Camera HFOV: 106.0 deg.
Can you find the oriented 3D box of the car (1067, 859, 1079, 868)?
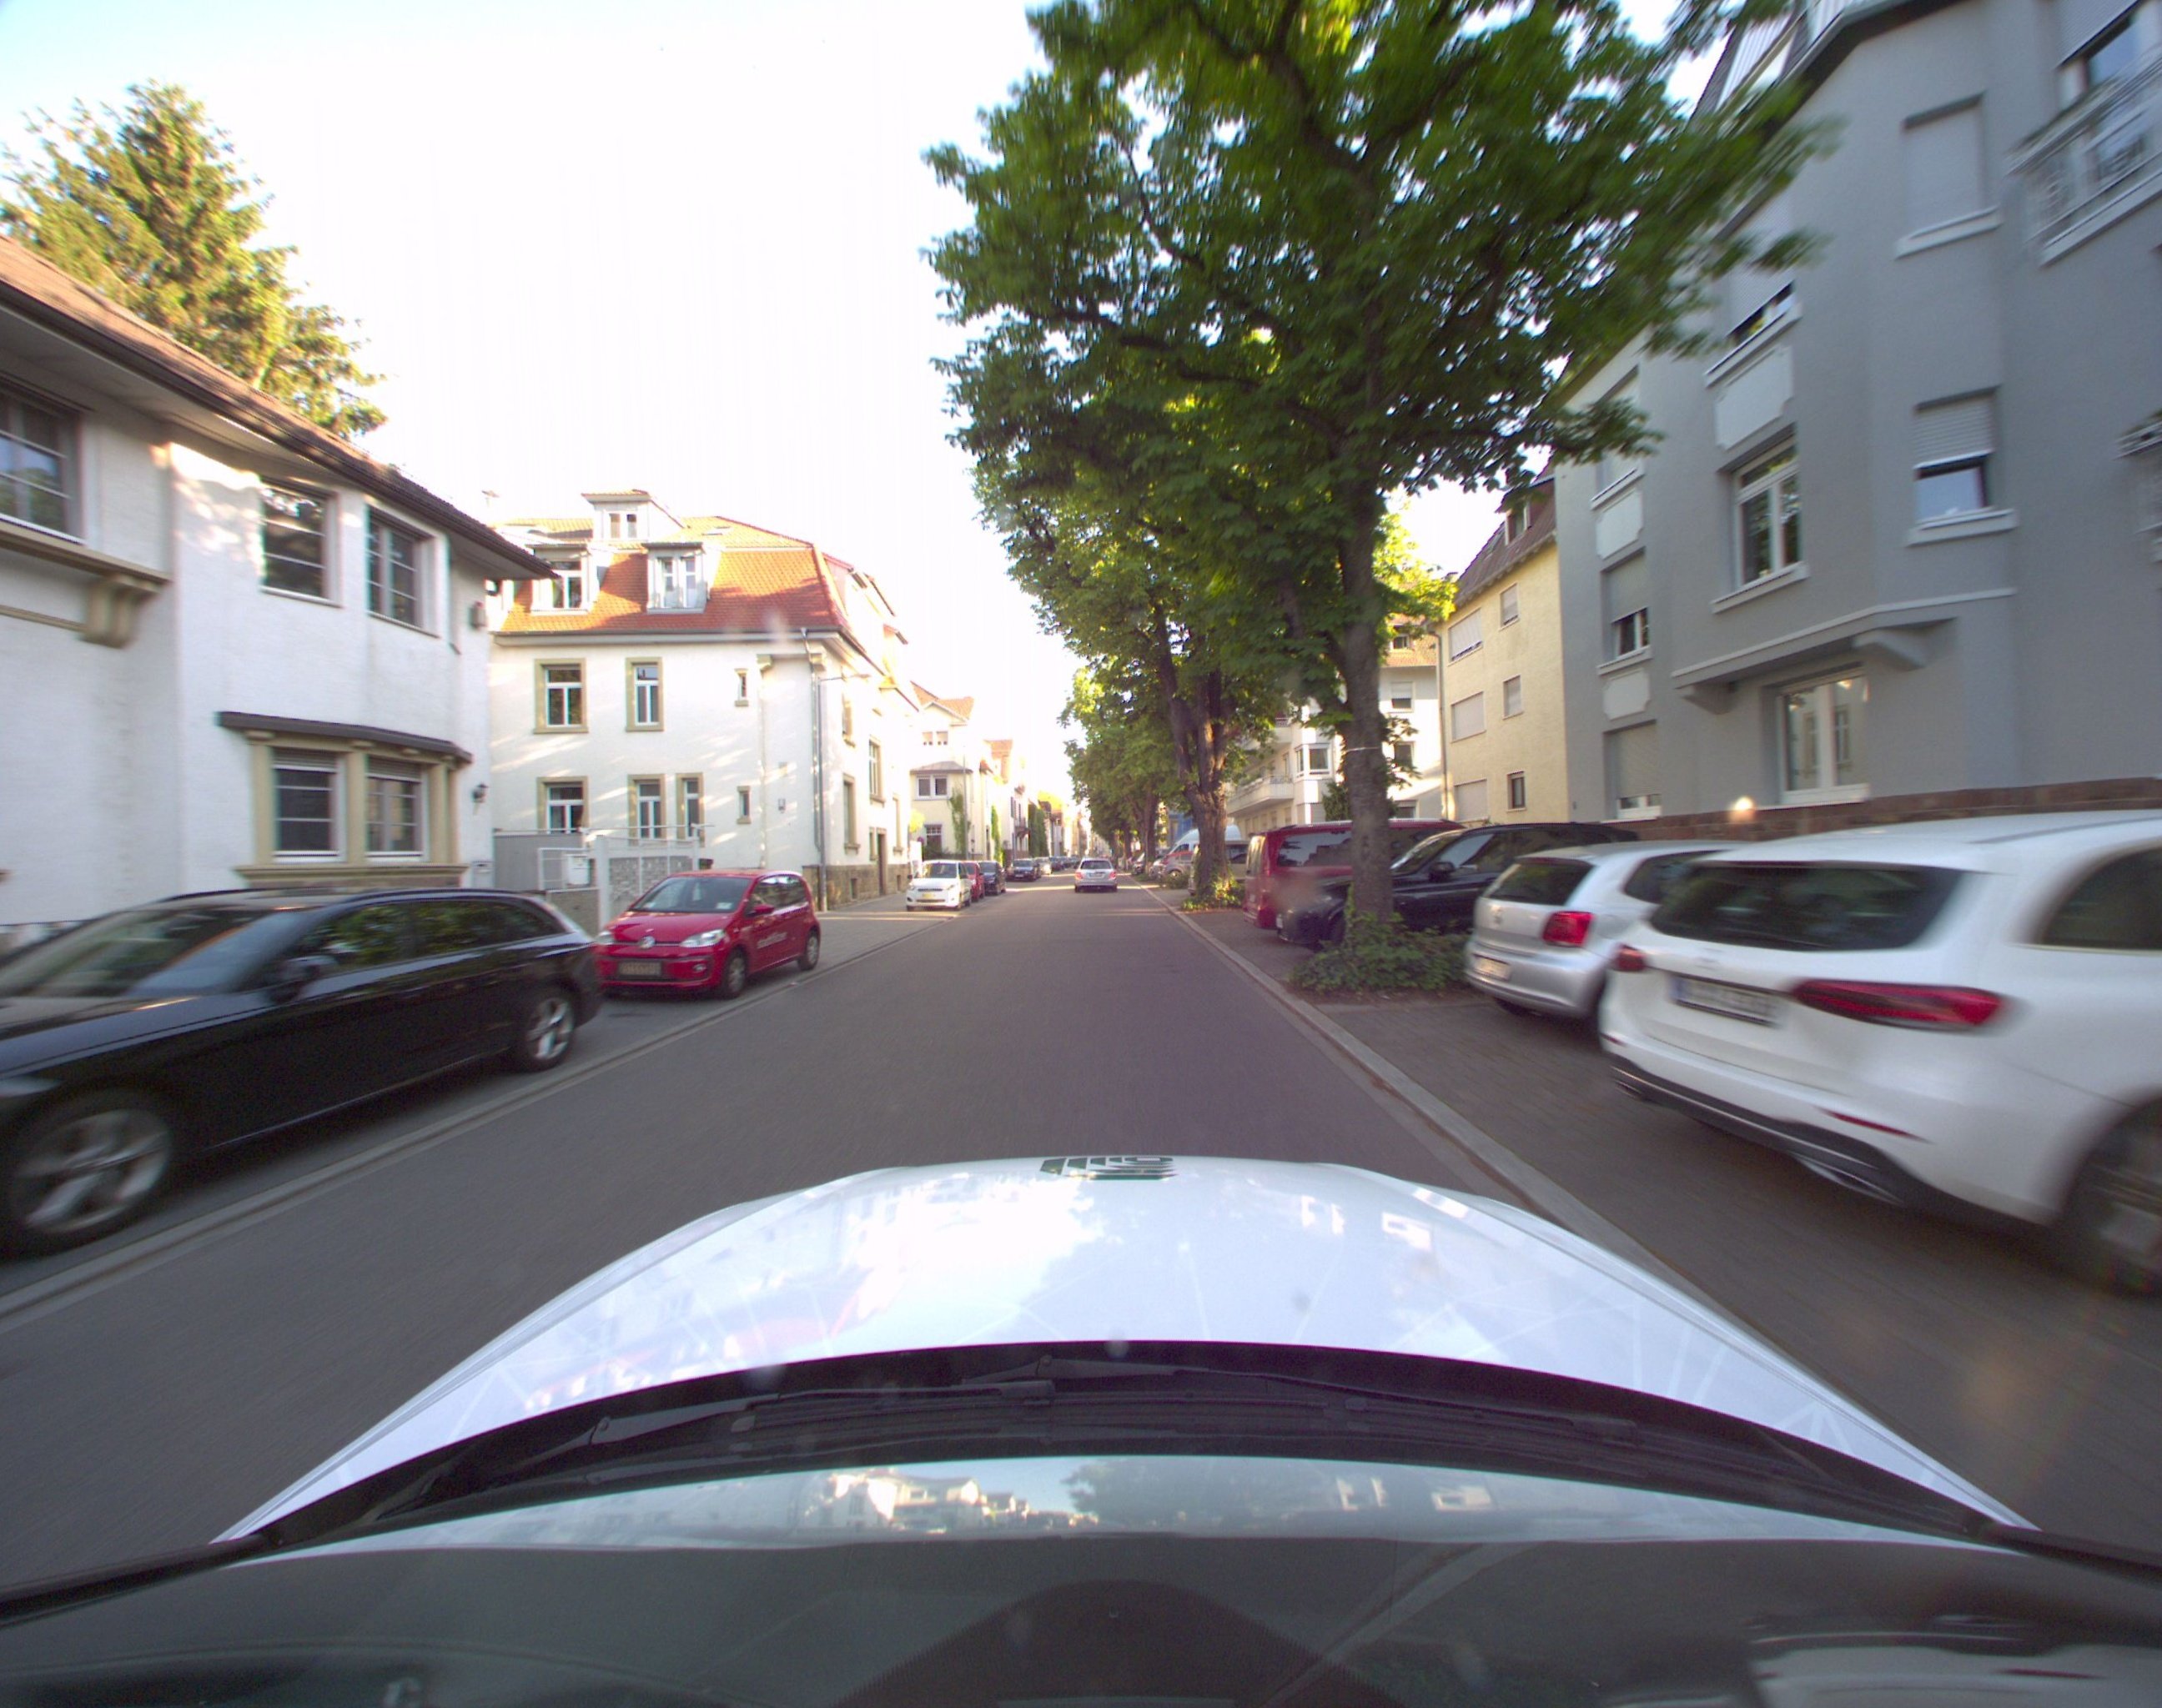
[{"bbox_3d":[-1.332,1.598,133.968,1.792,1.387,3.607,-1,0,1],"label":"car"}]

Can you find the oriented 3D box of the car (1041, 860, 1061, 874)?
[{"bbox_3d":[-3.039,1.310,82.971,1.792,1.387,3.607,-1,0,1],"label":"car"}]

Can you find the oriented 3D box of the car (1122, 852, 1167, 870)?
[{"bbox_3d":[5.595,0.582,72.025,3.829,1.482,1.806,-2,0,2],"label":"car"}]

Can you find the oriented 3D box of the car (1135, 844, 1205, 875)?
[{"bbox_3d":[6.075,0.368,56.055,4.505,2.013,2.250,-2,0,-1],"label":"car"}]

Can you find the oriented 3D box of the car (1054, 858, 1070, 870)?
[{"bbox_3d":[-2.421,1.260,104.546,1.792,1.387,3.607,-1,0,1],"label":"car"}]

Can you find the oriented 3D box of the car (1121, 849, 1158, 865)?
[{"bbox_3d":[6.260,0.321,87.129,3.829,1.482,1.806,-2,0,2],"label":"car"}]

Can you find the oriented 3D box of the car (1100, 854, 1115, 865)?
[{"bbox_3d":[3.692,0.773,113.091,1.809,1.473,4.221,-2,-1,4],"label":"car"}]

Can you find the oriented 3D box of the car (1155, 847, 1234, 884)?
[{"bbox_3d":[5.519,0.552,39.968,3.584,1.659,1.649,-2,0,-1],"label":"car"}]

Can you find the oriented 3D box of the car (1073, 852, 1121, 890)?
[{"bbox_3d":[0.756,0.729,34.872,1.809,1.473,4.221,-2,-1,4],"label":"car"}]

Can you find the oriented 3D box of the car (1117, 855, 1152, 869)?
[{"bbox_3d":[6.015,0.892,91.377,3.829,1.482,1.806,-2,0,2],"label":"car"}]

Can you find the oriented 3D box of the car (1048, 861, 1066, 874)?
[{"bbox_3d":[-2.754,1.523,93.006,1.792,1.387,3.607,-1,0,1],"label":"car"}]

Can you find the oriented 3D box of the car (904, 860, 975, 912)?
[{"bbox_3d":[-4.388,0.956,25.731,1.655,1.499,3.751,-1,-1,-1],"label":"car"}]

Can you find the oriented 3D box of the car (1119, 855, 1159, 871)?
[{"bbox_3d":[5.697,0.861,80.139,3.829,1.482,1.806,-2,0,2],"label":"car"}]

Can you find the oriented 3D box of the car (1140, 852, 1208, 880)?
[{"bbox_3d":[5.429,0.701,47.880,3.829,1.482,1.806,-2,0,2],"label":"car"}]

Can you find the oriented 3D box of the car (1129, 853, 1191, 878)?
[{"bbox_3d":[5.076,0.731,52.530,3.829,1.482,1.806,-2,0,2],"label":"car"}]

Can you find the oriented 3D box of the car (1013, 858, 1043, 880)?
[{"bbox_3d":[-3.756,1.026,58.595,1.792,1.482,3.858,-1,0,1],"label":"car"}]

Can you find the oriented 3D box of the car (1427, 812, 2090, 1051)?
[{"bbox_3d":[5.005,0.534,6.446,3.800,1.568,1.743,-1,0,0],"label":"car"}]

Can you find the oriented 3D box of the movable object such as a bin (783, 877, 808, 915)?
[{"bbox_3d":[-8.666,1.267,24.729,0.525,1.107,0.590,-1,-2,1],"label":"movable object such as a bin"}]

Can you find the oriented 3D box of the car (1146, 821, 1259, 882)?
[{"bbox_3d":[6.315,-0.115,42.969,5.526,2.968,2.471,-2,0,-1],"label":"car"}]

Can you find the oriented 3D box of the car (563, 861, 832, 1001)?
[{"bbox_3d":[-4.754,0.861,10.744,1.653,1.488,3.755,-1,-1,2],"label":"car"}]

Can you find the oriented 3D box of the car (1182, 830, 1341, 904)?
[{"bbox_3d":[5.133,0.361,23.568,4.117,1.921,1.890,-2,0,-1],"label":"car"}]

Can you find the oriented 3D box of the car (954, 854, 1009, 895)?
[{"bbox_3d":[-4.202,0.826,34.917,1.792,1.644,3.858,-1,0,1],"label":"car"}]

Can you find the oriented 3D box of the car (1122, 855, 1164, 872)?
[{"bbox_3d":[5.891,0.878,77.672,3.829,1.482,1.806,-2,0,2],"label":"car"}]

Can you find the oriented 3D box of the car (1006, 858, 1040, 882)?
[{"bbox_3d":[-3.757,1.018,53.208,1.792,1.482,3.858,-1,0,1],"label":"car"}]

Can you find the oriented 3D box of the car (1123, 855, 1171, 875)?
[{"bbox_3d":[5.370,0.870,66.985,3.829,1.482,1.806,-2,0,2],"label":"car"}]

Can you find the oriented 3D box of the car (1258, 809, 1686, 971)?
[{"bbox_3d":[4.818,0.427,10.580,4.609,1.836,1.954,-1,0,1],"label":"car"}]

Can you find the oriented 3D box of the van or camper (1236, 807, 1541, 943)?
[{"bbox_3d":[4.841,0.332,13.381,4.293,2.013,2.002,-1,0,4],"label":"van or camper"}]

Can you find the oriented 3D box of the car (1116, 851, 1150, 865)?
[{"bbox_3d":[6.004,0.445,94.851,3.829,1.482,1.806,-2,0,2],"label":"car"}]

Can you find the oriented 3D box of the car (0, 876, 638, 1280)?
[{"bbox_3d":[-5.018,0.938,5.087,1.776,1.498,4.701,-1,-1,2],"label":"car"}]

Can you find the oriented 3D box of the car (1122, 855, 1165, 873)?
[{"bbox_3d":[5.701,0.890,74.269,3.829,1.482,1.806,-2,0,2],"label":"car"}]

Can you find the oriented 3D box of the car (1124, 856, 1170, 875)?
[{"bbox_3d":[5.628,1.019,69.904,3.829,1.482,1.806,-2,0,2],"label":"car"}]

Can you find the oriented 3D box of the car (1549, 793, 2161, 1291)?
[{"bbox_3d":[4.376,0.557,3.492,3.718,1.558,1.725,-2,-1,0],"label":"car"}]

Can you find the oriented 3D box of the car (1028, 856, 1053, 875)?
[{"bbox_3d":[-3.439,0.954,69.007,1.792,1.482,3.858,-1,0,1],"label":"car"}]

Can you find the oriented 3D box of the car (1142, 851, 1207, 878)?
[{"bbox_3d":[5.754,0.625,50.265,3.829,1.482,1.806,-2,0,2],"label":"car"}]

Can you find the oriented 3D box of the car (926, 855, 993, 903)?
[{"bbox_3d":[-4.483,0.920,30.567,1.792,1.644,3.857,-1,-2,1],"label":"car"}]
